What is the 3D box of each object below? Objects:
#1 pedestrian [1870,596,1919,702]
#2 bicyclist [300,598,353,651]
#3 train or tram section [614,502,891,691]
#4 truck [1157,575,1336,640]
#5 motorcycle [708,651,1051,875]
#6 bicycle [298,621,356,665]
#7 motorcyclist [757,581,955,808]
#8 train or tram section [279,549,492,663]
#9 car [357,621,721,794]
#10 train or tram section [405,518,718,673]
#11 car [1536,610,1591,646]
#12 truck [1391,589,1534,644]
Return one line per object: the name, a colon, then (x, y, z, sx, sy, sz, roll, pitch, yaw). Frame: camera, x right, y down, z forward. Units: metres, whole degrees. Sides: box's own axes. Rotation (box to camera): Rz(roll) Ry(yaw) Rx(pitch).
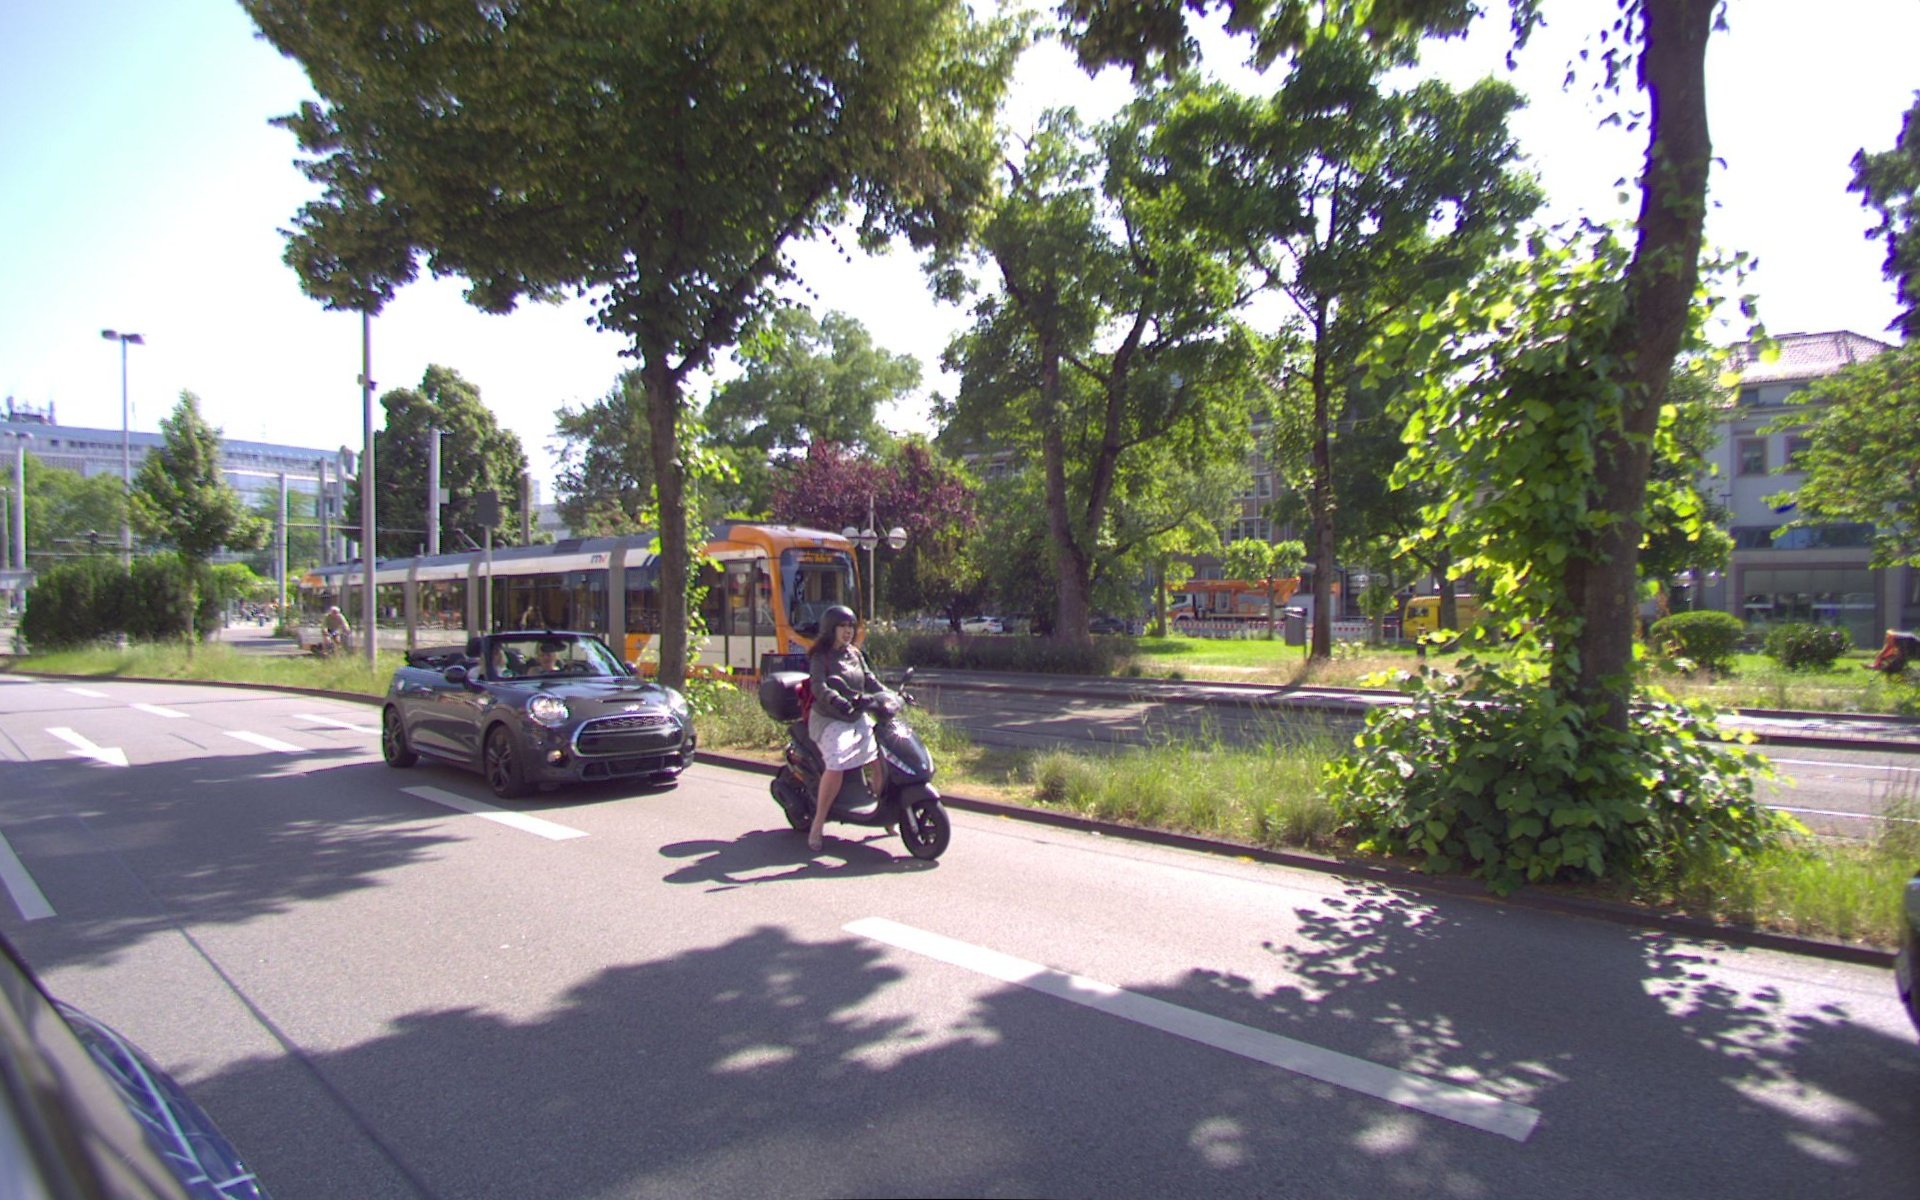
pedestrian: (15.147, 0.757, 16.055, 1.023, 1.632, 0.935, 1, -1, -42)
bicyclist: (-17.066, 0.651, 27.254, 1.232, 1.404, 0.901, -1, -1, 41)
train or tram section: (-4.495, -0.016, 21.326, 5.883, 3.429, 2.731, -1, -1, 41)
truck: (20.263, 0.566, 72.205, 11.787, 4.295, 3.588, -1, -1, 36)
motorcycle: (-0.610, 0.961, 6.745, 2.352, 1.172, 0.891, -1, -1, 41)
bicycle: (-17.053, 1.123, 27.245, 2.495, 1.091, 0.635, 0, 0, 41)
motorcyclist: (-0.696, 0.580, 6.786, 0.992, 1.369, 0.891, -1, -1, 41)
train or tram section: (-20.603, 0.278, 35.750, 12.407, 3.429, 2.730, -1, -1, 42)
car: (-4.140, 0.884, 9.667, 3.912, 1.318, 1.616, -1, -3, 41)
train or tram section: (-11.298, -0.013, 27.485, 12.409, 3.429, 2.730, -1, -1, 42)
car: (35.992, 1.628, 60.428, 1.985, 2.029, 4.526, -1, 0, 20)
truck: (30.995, 1.007, 62.607, 7.641, 3.239, 2.435, -1, -1, 37)
